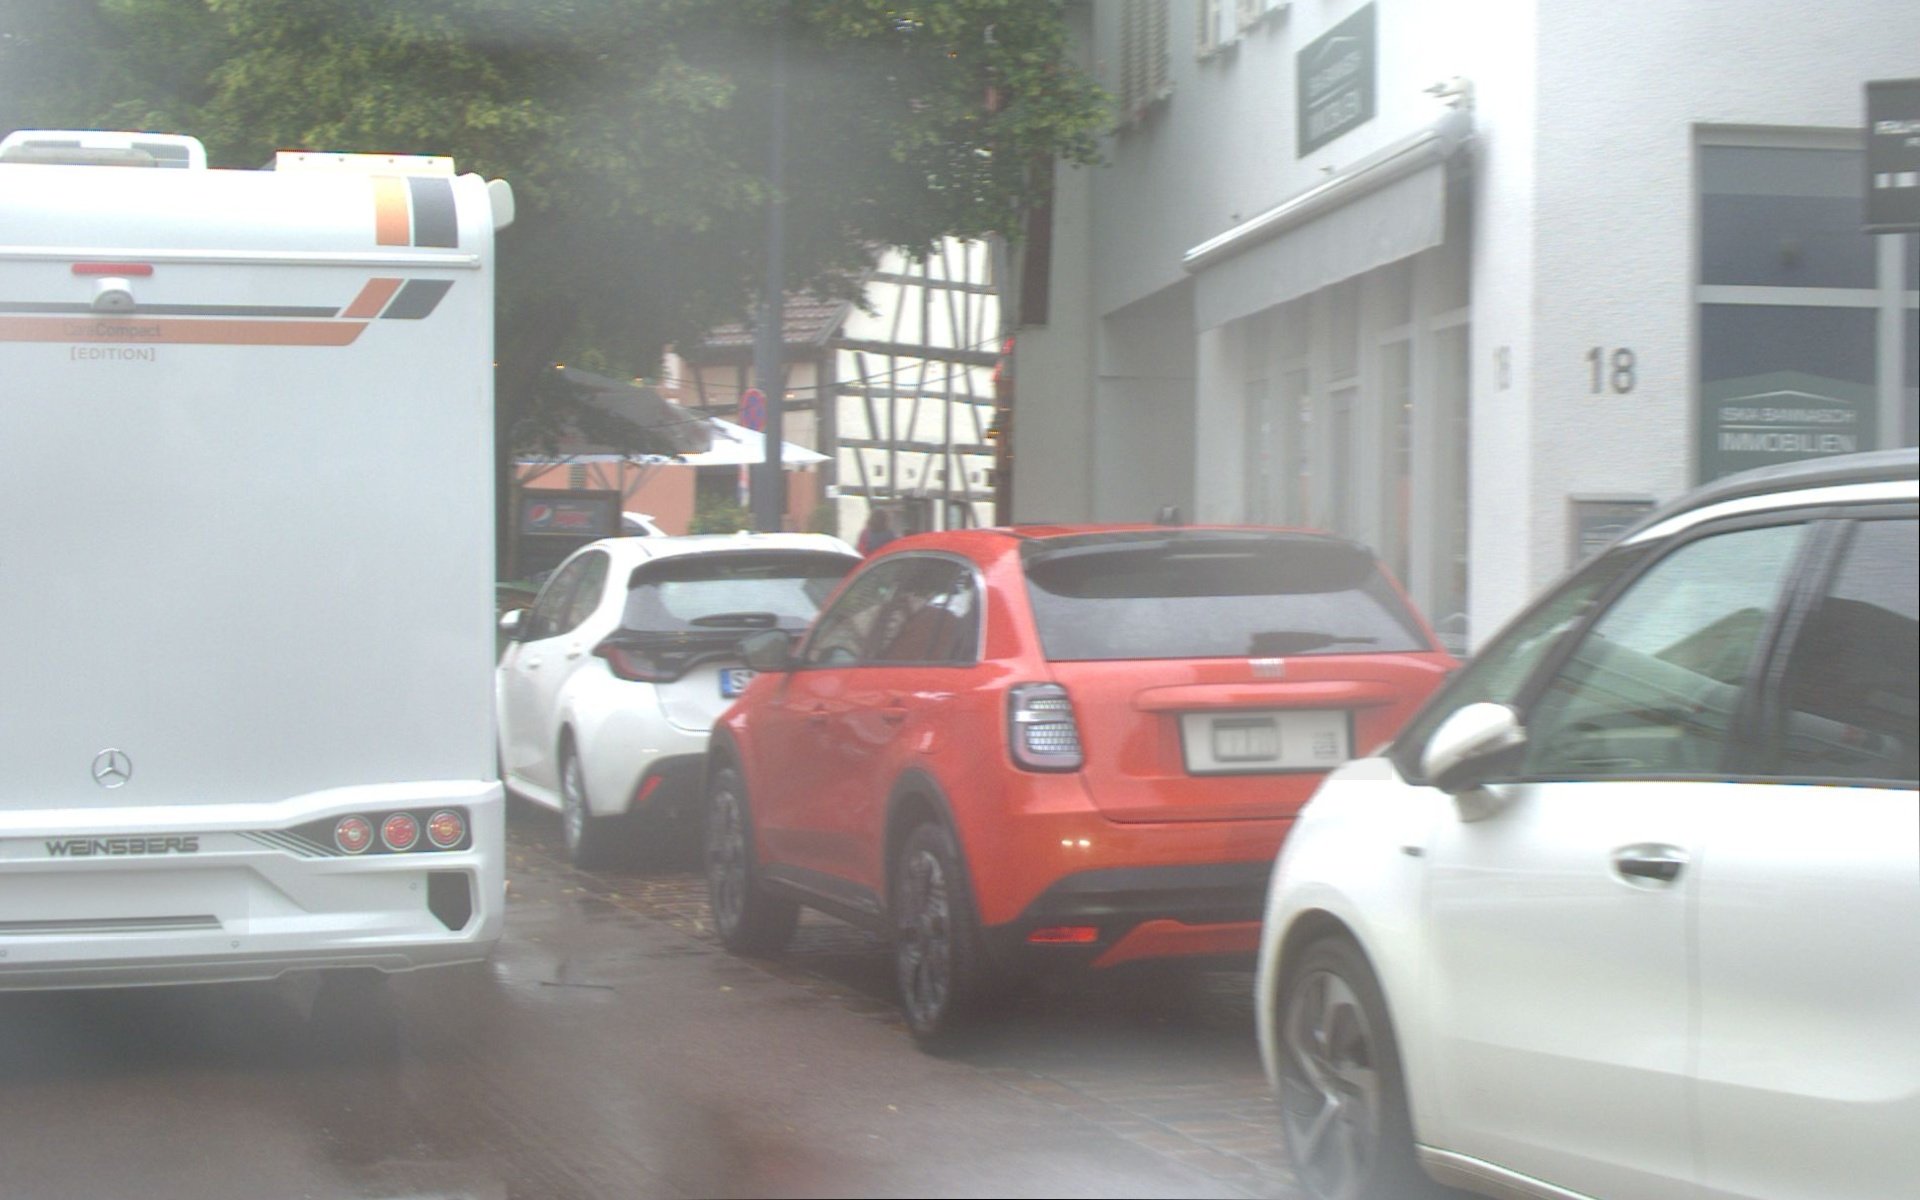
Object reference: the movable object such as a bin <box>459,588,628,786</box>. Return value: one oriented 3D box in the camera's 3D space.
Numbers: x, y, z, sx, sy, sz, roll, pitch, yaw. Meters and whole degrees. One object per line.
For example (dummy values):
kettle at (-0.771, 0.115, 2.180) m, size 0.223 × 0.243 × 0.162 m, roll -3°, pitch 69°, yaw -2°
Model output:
movable object such as a bin at (-2.392, 0.493, 19.728) m, size 0.833 × 1.108 × 0.561 m, roll 1°, pitch 0°, yaw -21°

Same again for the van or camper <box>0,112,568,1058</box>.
van or camper at (-3.435, -0.093, 12.651) m, size 2.437 × 2.577 × 6.753 m, roll 0°, pitch 1°, yaw -20°

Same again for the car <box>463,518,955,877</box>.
car at (-1.340, 0.368, 16.777) m, size 1.676 × 1.523 × 3.800 m, roll -1°, pitch 2°, yaw -15°

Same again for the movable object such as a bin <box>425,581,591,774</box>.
movable object such as a bin at (-2.668, 0.452, 20.263) m, size 0.833 × 1.108 × 0.589 m, roll 1°, pitch 0°, yaw -21°

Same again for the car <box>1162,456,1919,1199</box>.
car at (2.037, 0.591, 6.163) m, size 1.775 × 1.625 × 4.471 m, roll 0°, pitch 0°, yaw -19°

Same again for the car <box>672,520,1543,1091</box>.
car at (0.285, 0.509, 11.263) m, size 1.676 × 1.523 × 3.800 m, roll -1°, pitch 1°, yaw -17°
